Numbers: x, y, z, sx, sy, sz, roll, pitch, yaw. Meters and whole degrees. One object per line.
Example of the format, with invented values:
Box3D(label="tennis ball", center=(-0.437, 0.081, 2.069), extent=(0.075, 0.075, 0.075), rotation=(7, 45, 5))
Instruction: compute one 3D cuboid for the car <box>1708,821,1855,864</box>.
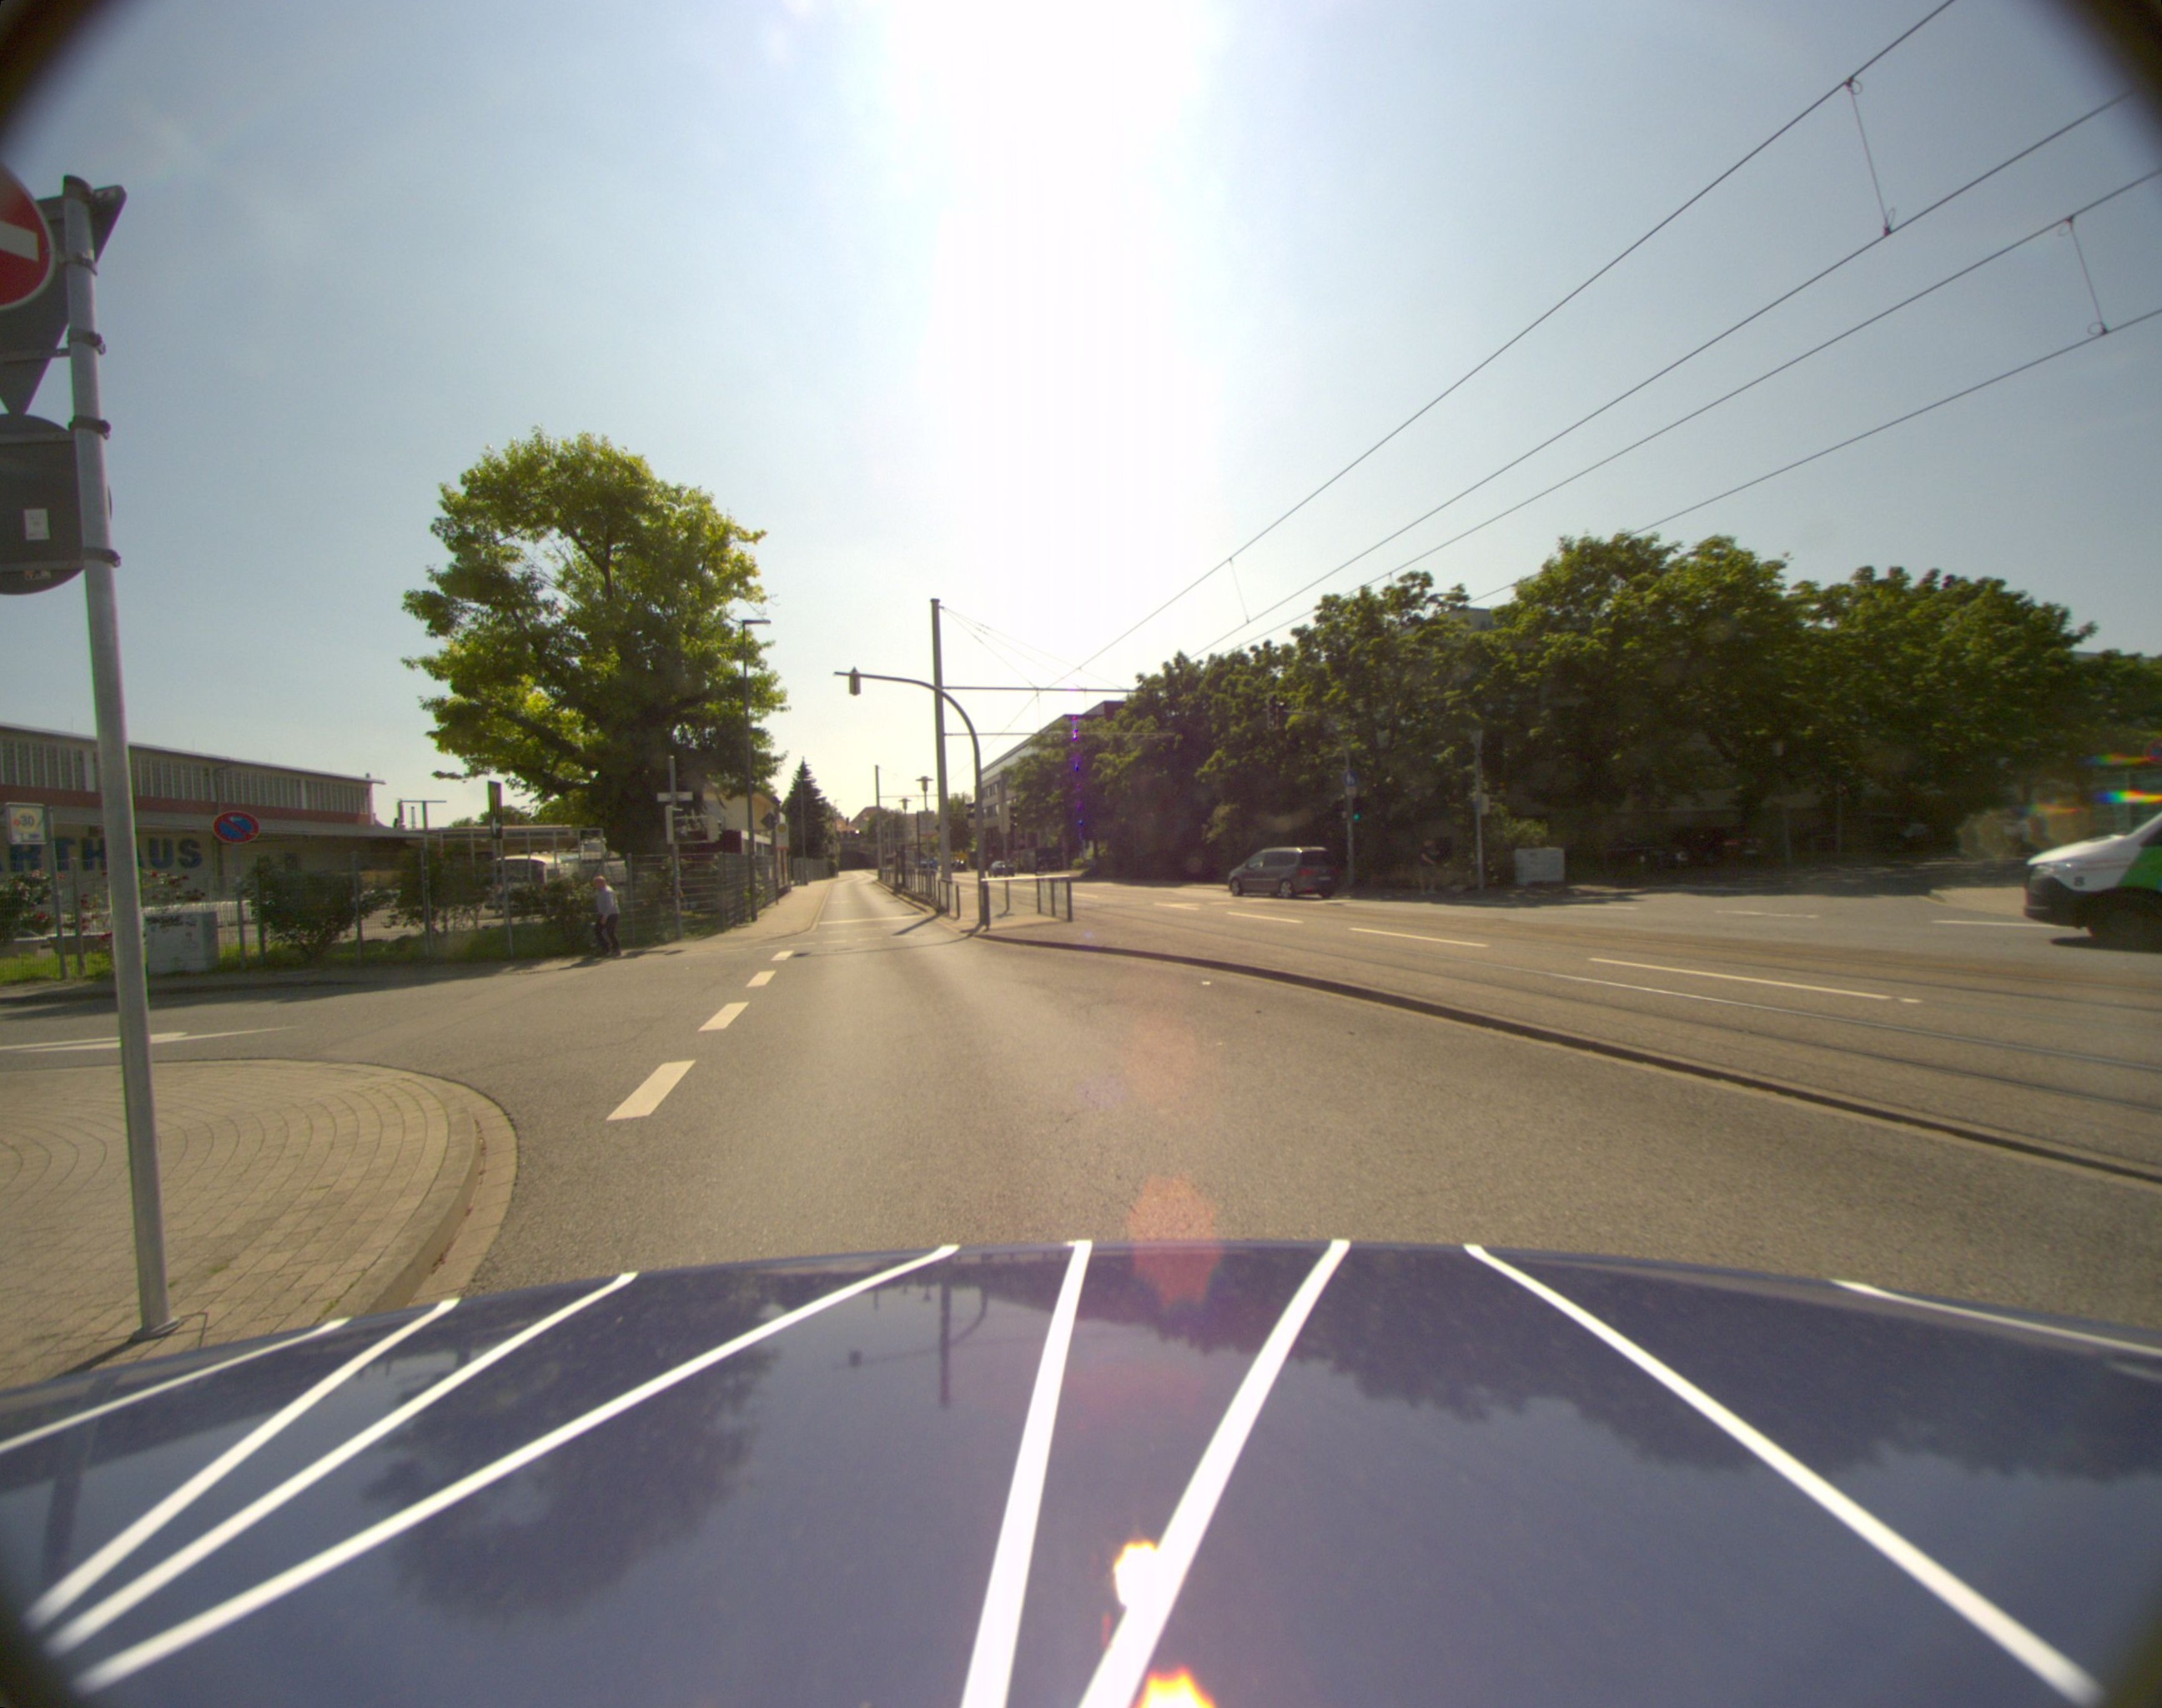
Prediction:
Box3D(label="car", center=(26.259, -0.400, 28.582), extent=(1.629, 1.458, 3.857), rotation=(-3, 0, -41))

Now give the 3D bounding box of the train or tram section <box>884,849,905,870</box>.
Box3D(label="train or tram section", center=(-32.732, 0.915, 132.994), extent=(2.684, 3.464, 12.309), rotation=(-2, 0, -18))

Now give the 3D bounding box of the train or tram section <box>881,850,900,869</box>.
Box3D(label="train or tram section", center=(-36.421, 1.034, 145.021), extent=(2.684, 3.464, 13.370), rotation=(-2, 0, -18))

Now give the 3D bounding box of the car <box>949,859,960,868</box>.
Box3D(label="car", center=(-22.937, 1.745, 137.329), extent=(1.873, 1.608, 3.996), rotation=(-1, 0, -10))

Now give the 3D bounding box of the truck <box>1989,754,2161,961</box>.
Box3D(label="truck", center=(13.925, -0.029, 7.235), extent=(2.212, 2.323, 6.377), rotation=(-3, 0, -24))

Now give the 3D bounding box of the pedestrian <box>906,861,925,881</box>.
Box3D(label="pedestrian", center=(-9.393, 0.968, 43.167), extent=(0.947, 1.093, 0.725), rotation=(2, 1, -18))

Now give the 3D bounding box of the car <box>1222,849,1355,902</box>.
Box3D(label="car", center=(6.743, 0.655, 25.175), extent=(1.936, 1.574, 4.182), rotation=(1, 1, -27))

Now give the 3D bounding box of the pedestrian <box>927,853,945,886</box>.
Box3D(label="pedestrian", center=(-7.825, 0.817, 40.997), extent=(0.726, 1.714, 0.943), rotation=(-3, 0, -17))

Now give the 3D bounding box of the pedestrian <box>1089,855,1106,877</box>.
Box3D(label="pedestrian", center=(1.147, 0.850, 52.920), extent=(0.874, 1.518, 0.844), rotation=(-2, 0, -18))

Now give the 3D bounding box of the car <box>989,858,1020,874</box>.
Box3D(label="car", center=(-6.857, 1.060, 67.870), extent=(1.914, 1.433, 4.589), rotation=(0, 0, -17))

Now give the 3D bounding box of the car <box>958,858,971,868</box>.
Box3D(label="car", center=(-20.021, 1.582, 130.377), extent=(2.000, 1.613, 3.996), rotation=(-1, 0, -10))

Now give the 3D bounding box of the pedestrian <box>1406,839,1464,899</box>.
Box3D(label="pedestrian", center=(10.612, 0.430, 22.807), extent=(0.889, 1.661, 1.158), rotation=(-7, 2, -17))

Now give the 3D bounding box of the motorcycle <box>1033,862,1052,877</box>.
Box3D(label="motorcycle", center=(-2.734, 1.087, 53.943), extent=(0.825, 1.005, 1.961), rotation=(-2, 0, -17))

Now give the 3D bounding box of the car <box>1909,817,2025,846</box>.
Box3D(label="car", center=(39.062, -0.977, 33.571), extent=(1.212, 1.118, 3.118), rotation=(-2, 0, -23))

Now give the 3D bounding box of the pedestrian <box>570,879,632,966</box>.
Box3D(label="pedestrian", center=(-9.912, 1.385, 15.690), extent=(0.813, 1.689, 0.889), rotation=(-1, 0, 45))

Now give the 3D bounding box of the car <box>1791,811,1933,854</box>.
Box3D(label="car", center=(32.936, -0.870, 32.171), extent=(1.627, 1.628, 3.860), rotation=(-2, 0, -23))

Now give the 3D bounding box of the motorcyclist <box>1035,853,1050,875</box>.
Box3D(label="motorcyclist", center=(-2.750, 0.709, 53.899), extent=(0.839, 1.467, 0.961), rotation=(-2, 1, -17))

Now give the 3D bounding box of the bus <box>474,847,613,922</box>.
Box3D(label="bus", center=(-27.698, 1.339, 39.840), extent=(2.575, 3.154, 10.250), rotation=(-2, 2, -16))
